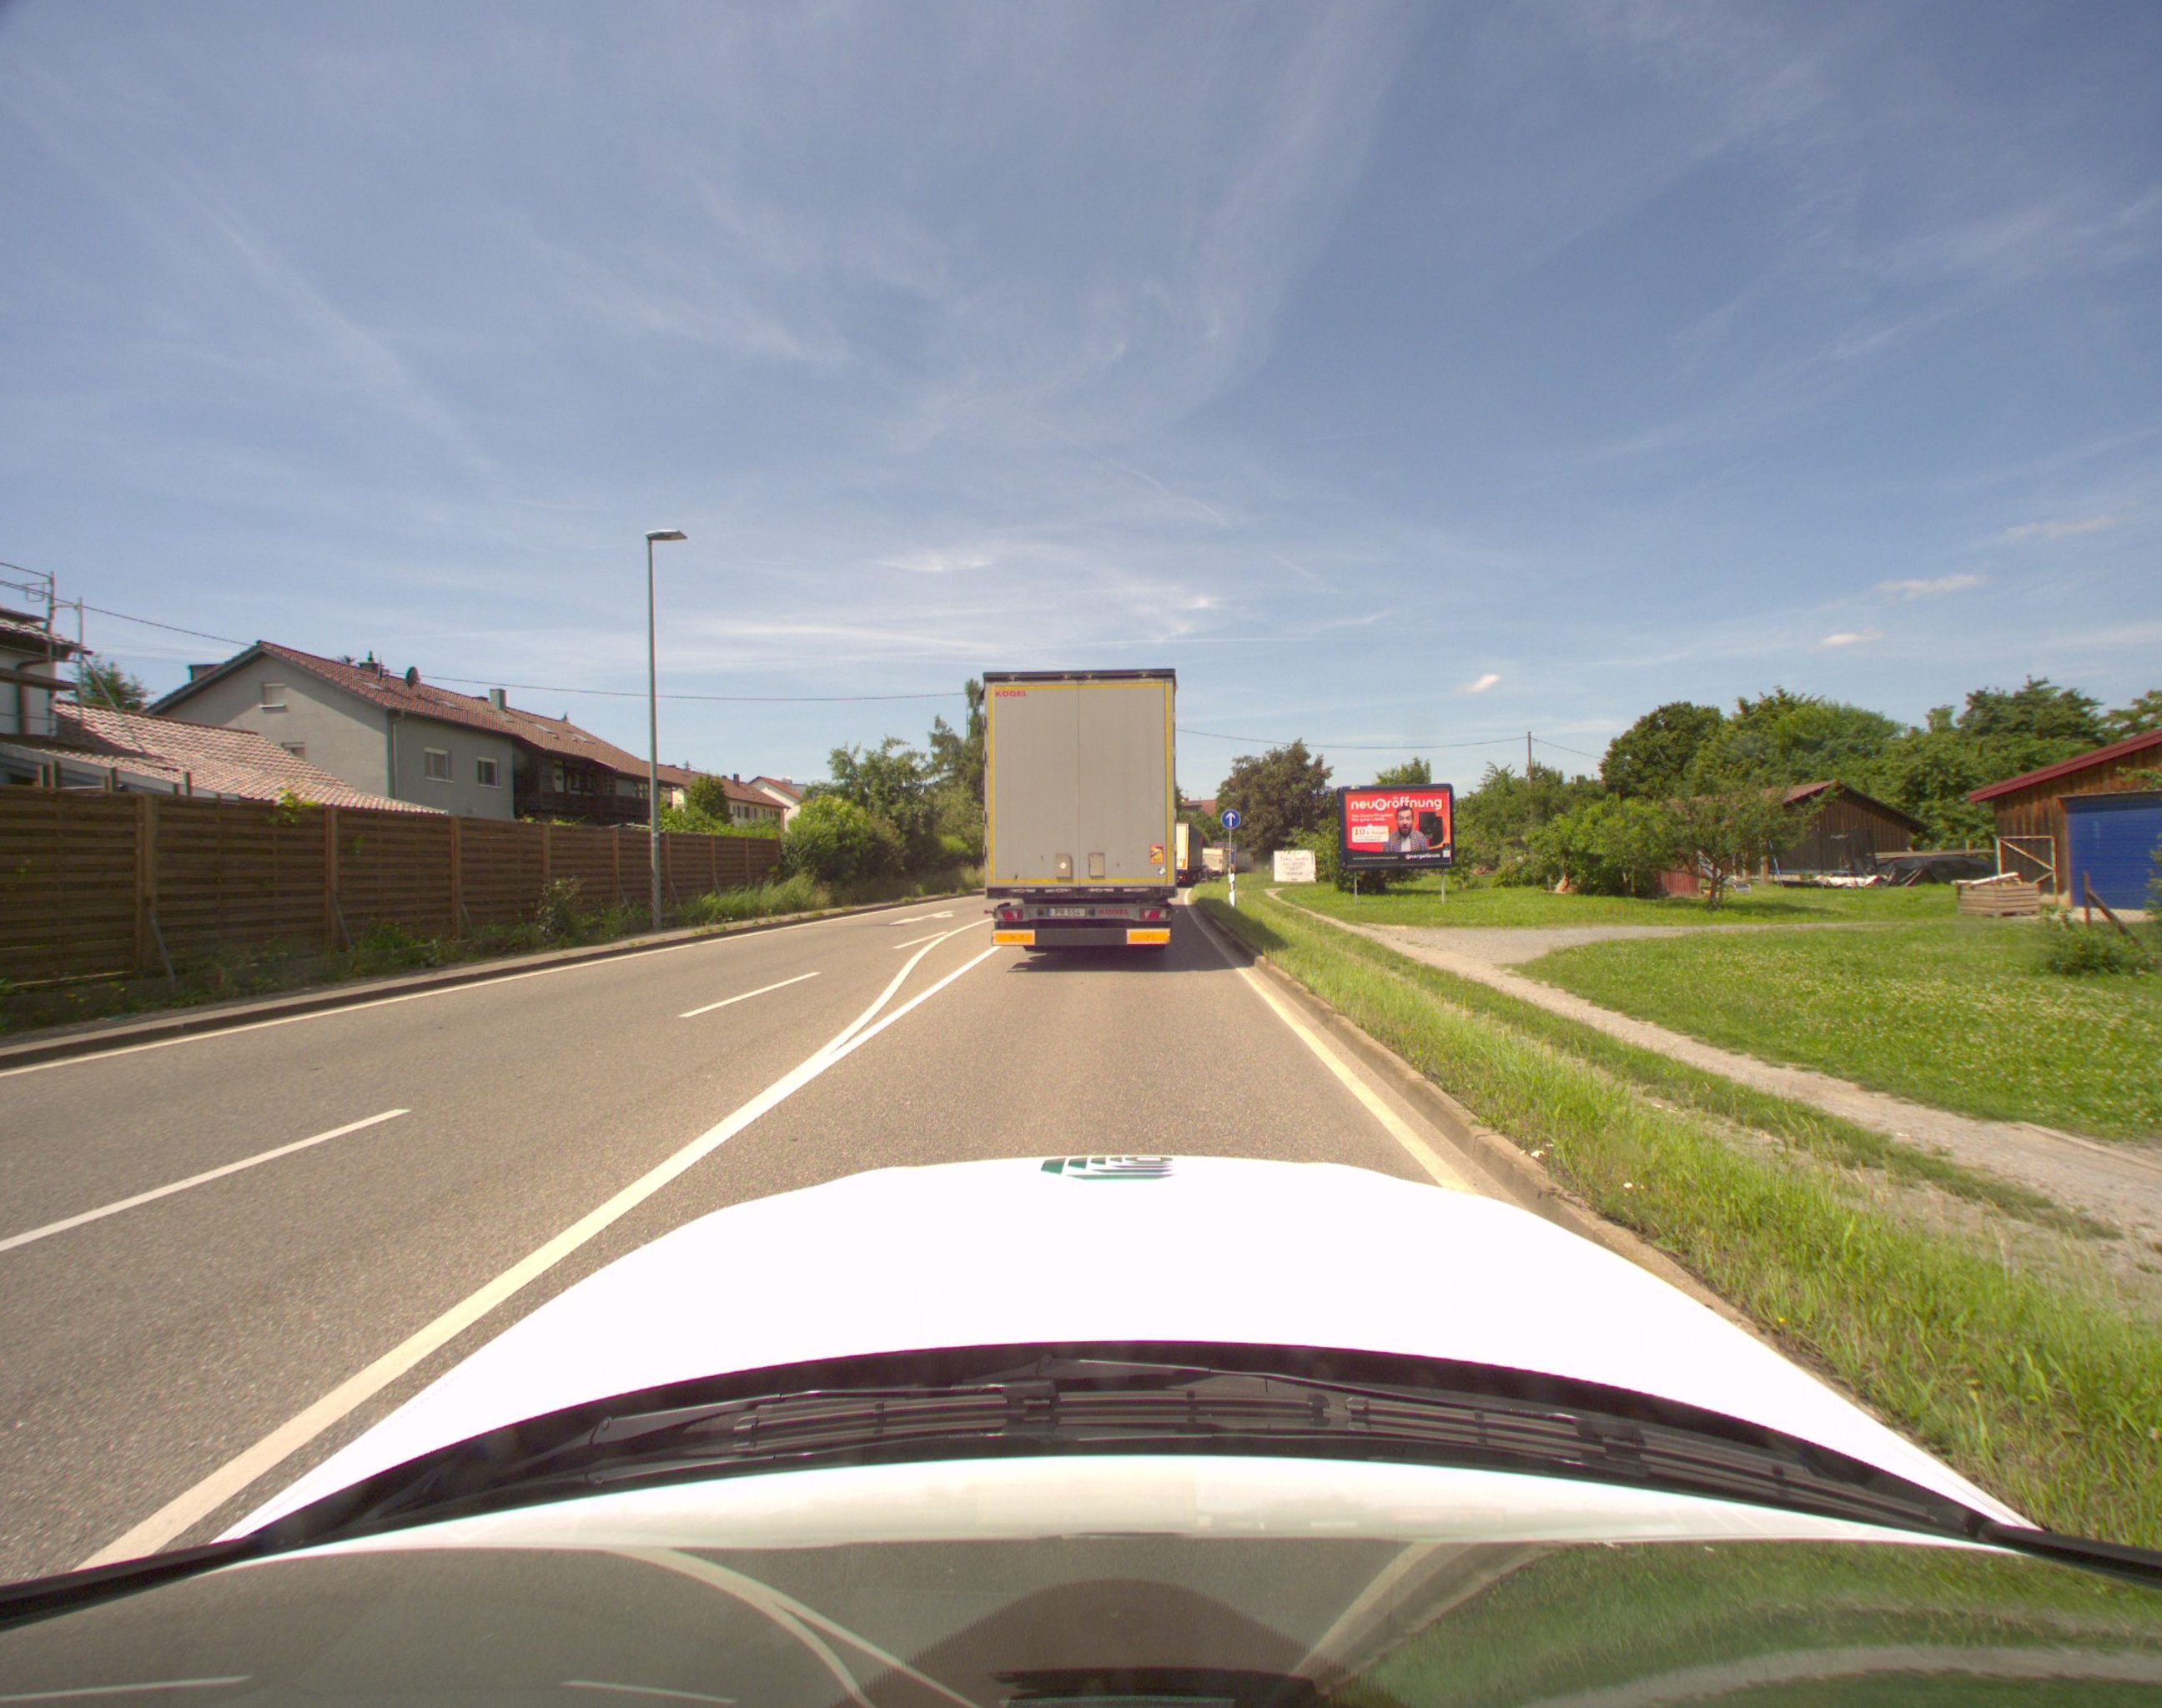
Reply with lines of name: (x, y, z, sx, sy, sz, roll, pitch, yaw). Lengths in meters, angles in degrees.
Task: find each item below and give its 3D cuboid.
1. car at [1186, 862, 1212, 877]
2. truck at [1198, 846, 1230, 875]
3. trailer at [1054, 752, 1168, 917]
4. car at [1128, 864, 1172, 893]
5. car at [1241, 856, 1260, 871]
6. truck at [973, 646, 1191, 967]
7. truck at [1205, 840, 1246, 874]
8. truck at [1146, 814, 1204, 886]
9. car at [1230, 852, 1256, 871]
car: (10.932, 1.409, 75.006, 1.979, 1.376, 4.015, 0, -1, 14)
truck: (13.571, 0.700, 82.897, 2.524, 2.803, 6.057, -1, -1, 16)
trailer: (1.007, -0.486, 23.827, 2.812, 4.111, 6.552, -1, 0, 4)
car: (3.389, 1.169, 39.420, 1.808, 1.346, 3.857, 0, -1, 9)
car: (22.944, 1.340, 110.178, 1.978, 2.014, 4.018, -1, -1, 18)
truck: (0.433, -0.605, 16.258, 2.809, 4.127, 11.457, 0, 0, 4)
truck: (16.588, 0.314, 92.833, 3.406, 3.604, 9.395, -1, 0, 17)
truck: (6.868, -0.103, 57.108, 2.742, 4.289, 16.464, 0, -1, 11)
car: (20.780, 0.936, 104.124, 2.512, 2.277, 6.410, 0, 0, 18)
